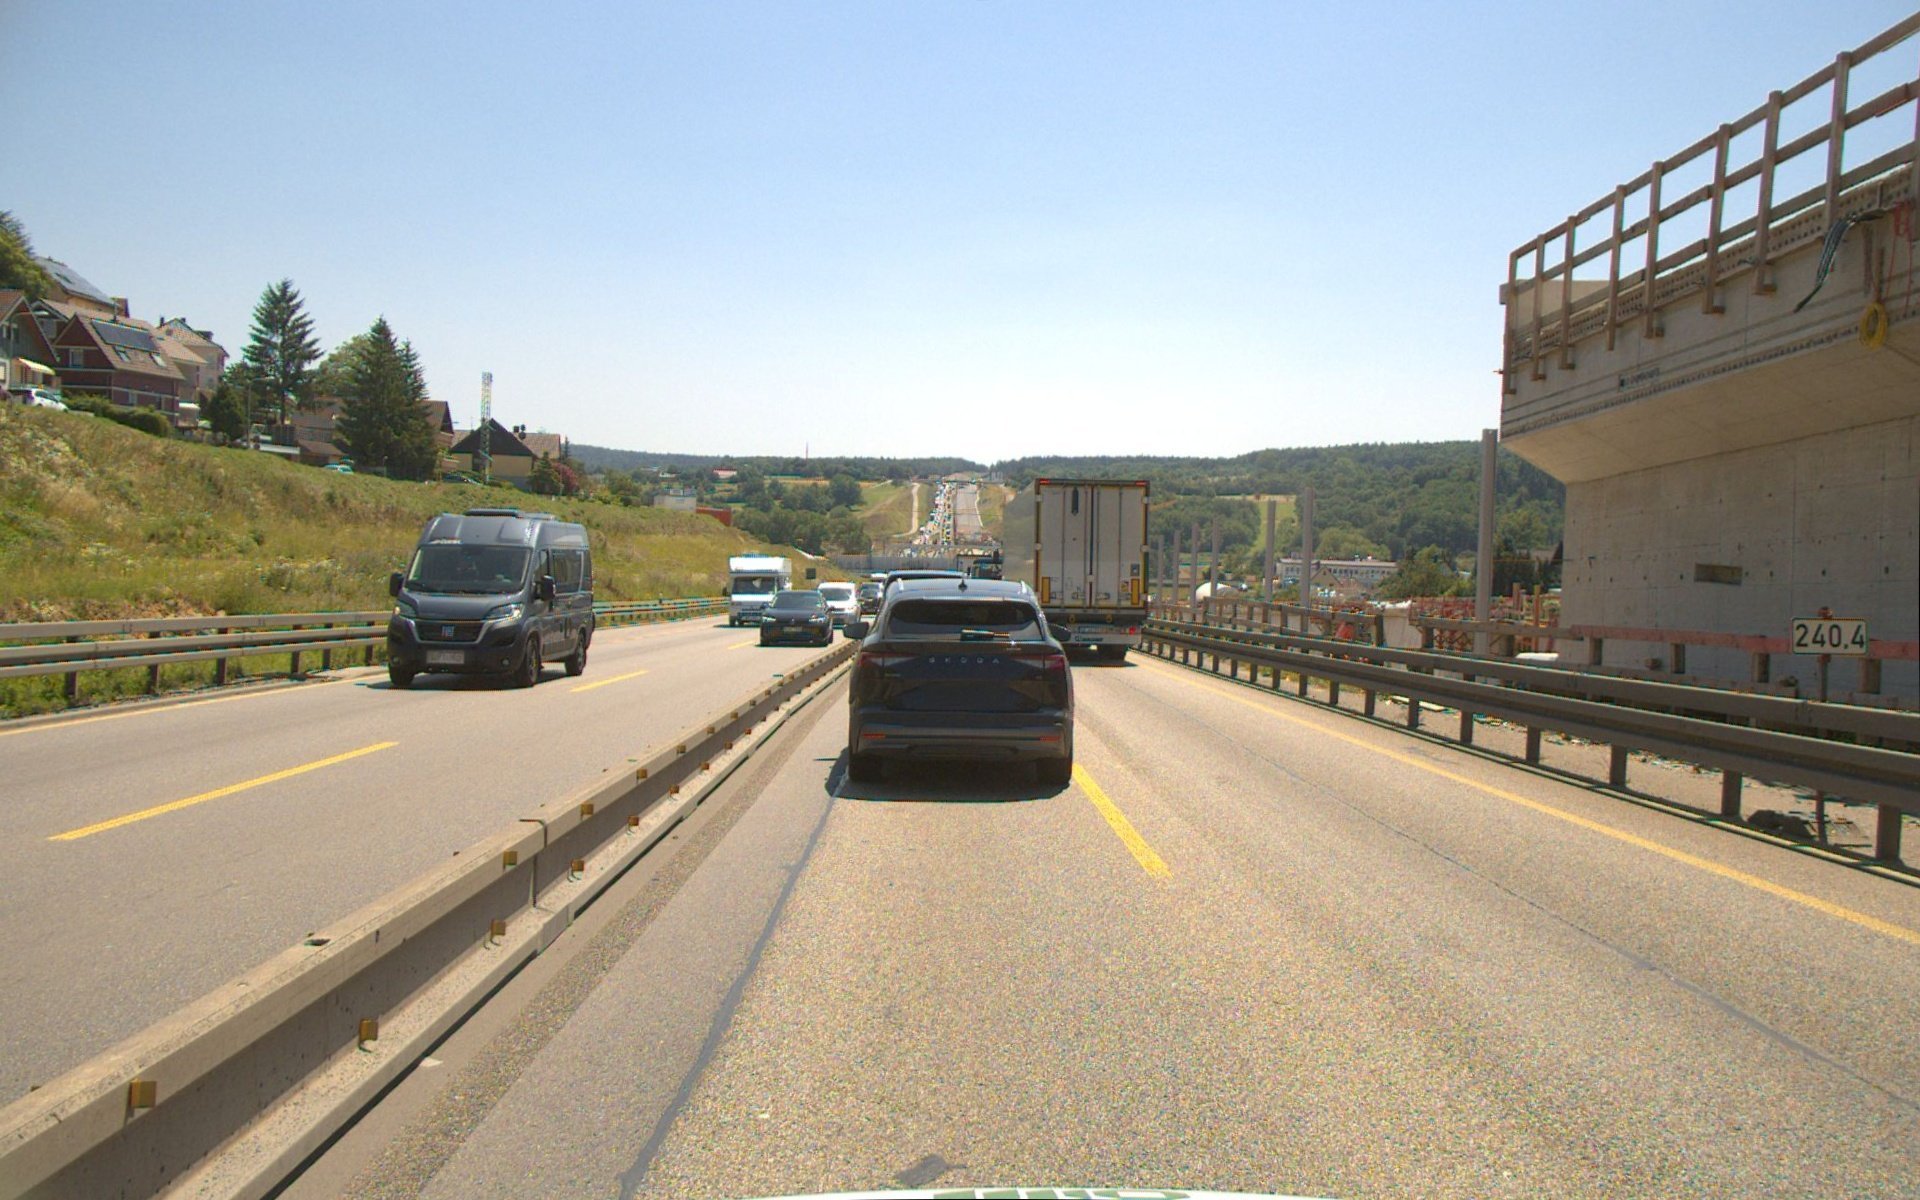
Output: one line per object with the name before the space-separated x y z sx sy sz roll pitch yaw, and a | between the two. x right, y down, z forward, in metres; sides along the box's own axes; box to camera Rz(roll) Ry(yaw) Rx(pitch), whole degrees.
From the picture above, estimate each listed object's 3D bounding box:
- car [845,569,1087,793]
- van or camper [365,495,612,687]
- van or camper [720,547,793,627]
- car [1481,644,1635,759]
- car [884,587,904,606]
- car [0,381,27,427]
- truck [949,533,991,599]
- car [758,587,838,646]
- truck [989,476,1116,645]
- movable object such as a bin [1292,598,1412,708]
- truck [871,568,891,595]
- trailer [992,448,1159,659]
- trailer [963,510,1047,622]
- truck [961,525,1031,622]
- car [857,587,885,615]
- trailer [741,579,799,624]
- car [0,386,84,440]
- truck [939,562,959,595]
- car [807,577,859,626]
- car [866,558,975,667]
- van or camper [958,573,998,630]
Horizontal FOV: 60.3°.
car | 0.031 0.607 14.209 1.765 1.635 3.999 1 0 -1
van or camper | -7.198 -0.134 26.130 2.096 2.618 6.563 1 0 -1
van or camper | -8.382 -0.512 68.642 2.245 3.120 6.922 1 0 -1
car | 16.773 2.742 46.834 2.100 2.906 7.024 1 -1 2
car | -5.821 -0.303 146.622 1.770 1.668 4.171 0 0 -2
car | -46.115 -9.336 77.456 2.301 1.825 4.797 1 -1 -4
truck | 0.684 -2.462 126.181 2.794 4.543 11.912 1 -1 -2
car | -4.370 0.424 45.257 1.805 1.501 4.833 1 0 -1
truck | 2.604 -1.122 49.332 3.116 4.591 8.164 1 1 -1
movable object such as a bin | 18.358 2.423 78.188 3.162 4.826 9.652 1 -1 -1
truck | -11.008 -2.549 231.115 2.723 3.737 6.275 1 0 -2
trailer | 2.657 -1.089 42.789 3.116 4.591 13.106 1 1 -1
trailer | 1.887 -1.299 76.231 3.116 4.592 14.962 1 -1 -1
truck | 1.731 -1.221 83.414 3.116 4.592 8.163 1 -1 -1
car | -4.952 0.033 91.896 1.453 1.531 2.804 1 0 -1
trailer | -8.510 0.043 74.537 2.059 1.927 5.140 1 0 -1
car | -46.662 -9.418 83.729 2.301 2.077 4.814 1 -1 -4
truck | -1.466 -2.897 224.434 2.586 4.267 9.281 1 -1 -1
car | -5.002 0.046 65.783 1.800 1.860 5.038 1 0 -2
car | -0.764 0.260 32.249 1.953 1.959 4.506 1 -1 -1
van or camper | 1.105 0.168 100.704 2.339 3.338 6.469 1 -1 1
